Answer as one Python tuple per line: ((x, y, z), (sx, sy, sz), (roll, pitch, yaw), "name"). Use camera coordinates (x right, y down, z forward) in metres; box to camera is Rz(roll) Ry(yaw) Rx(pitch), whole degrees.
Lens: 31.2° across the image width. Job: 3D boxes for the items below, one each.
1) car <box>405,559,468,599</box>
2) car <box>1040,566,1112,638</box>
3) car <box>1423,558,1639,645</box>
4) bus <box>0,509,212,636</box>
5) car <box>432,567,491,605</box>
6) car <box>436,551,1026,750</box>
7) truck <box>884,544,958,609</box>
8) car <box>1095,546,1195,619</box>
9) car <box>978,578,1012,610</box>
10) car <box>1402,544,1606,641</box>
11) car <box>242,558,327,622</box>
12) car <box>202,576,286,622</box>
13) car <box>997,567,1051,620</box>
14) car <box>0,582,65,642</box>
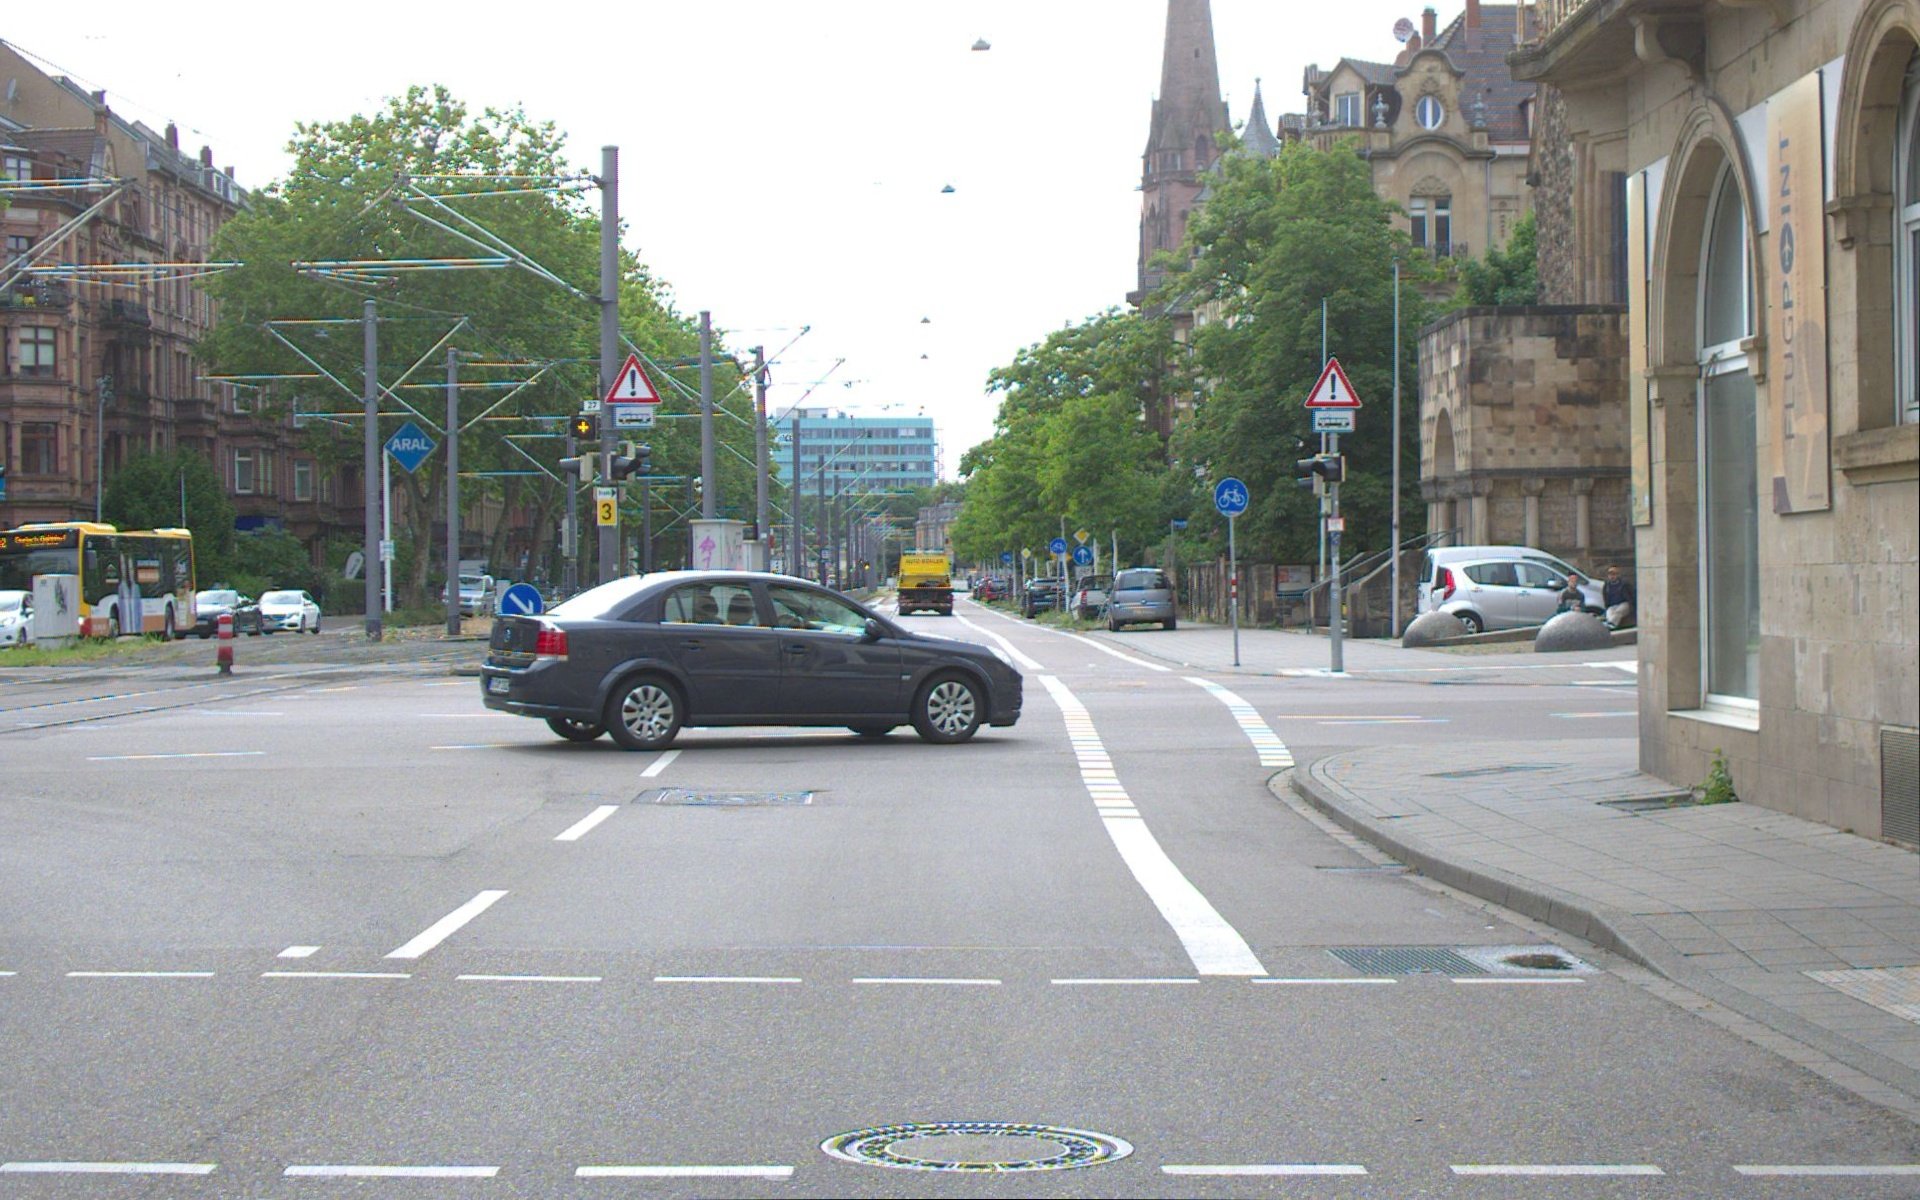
((-21.544, -0.870, 141.528), (1.993, 1.605, 4.000), (1, 1, -1), "car")
((3.337, 0.039, 99.577), (1.993, 2.007, 4.000), (1, 1, 1), "car")
((10.760, 0.021, 64.975), (3.713, 1.558, 2.000), (1, 0, 0), "car")
((-22.482, -0.725, 89.102), (3.231, 3.025, 12.311), (1, 1, 1), "bus")
((-21.635, -0.630, 149.344), (1.993, 1.605, 4.000), (1, 1, -1), "car")
((-1.918, 0.383, 28.815), (4.521, 1.558, 2.000), (0, 1, -24), "car")
((-1.659, -1.069, 151.267), (3.055, 2.760, 9.815), (0, 1, 1), "truck")
((4.863, -0.467, 89.992), (1.994, 1.849, 4.024), (1, 1, 12), "car")
((2.186, -0.390, 216.845), (1.993, 2.007, 4.000), (1, 1, -1), "car")
((10.788, -0.156, 68.413), (3.713, 1.849, 2.000), (1, 0, 0), "car")
((-21.864, -0.332, 111.379), (1.993, 2.007, 4.000), (1, 1, -1), "car")
((-21.272, -0.042, 102.205), (1.656, 1.316, 3.638), (1, 1, 1), "car")
((2.532, -0.268, 135.997), (1.993, 2.007, 4.000), (1, 1, -1), "car")
((-21.915, 0.264, 79.053), (1.656, 1.316, 3.638), (1, 1, 1), "car")
